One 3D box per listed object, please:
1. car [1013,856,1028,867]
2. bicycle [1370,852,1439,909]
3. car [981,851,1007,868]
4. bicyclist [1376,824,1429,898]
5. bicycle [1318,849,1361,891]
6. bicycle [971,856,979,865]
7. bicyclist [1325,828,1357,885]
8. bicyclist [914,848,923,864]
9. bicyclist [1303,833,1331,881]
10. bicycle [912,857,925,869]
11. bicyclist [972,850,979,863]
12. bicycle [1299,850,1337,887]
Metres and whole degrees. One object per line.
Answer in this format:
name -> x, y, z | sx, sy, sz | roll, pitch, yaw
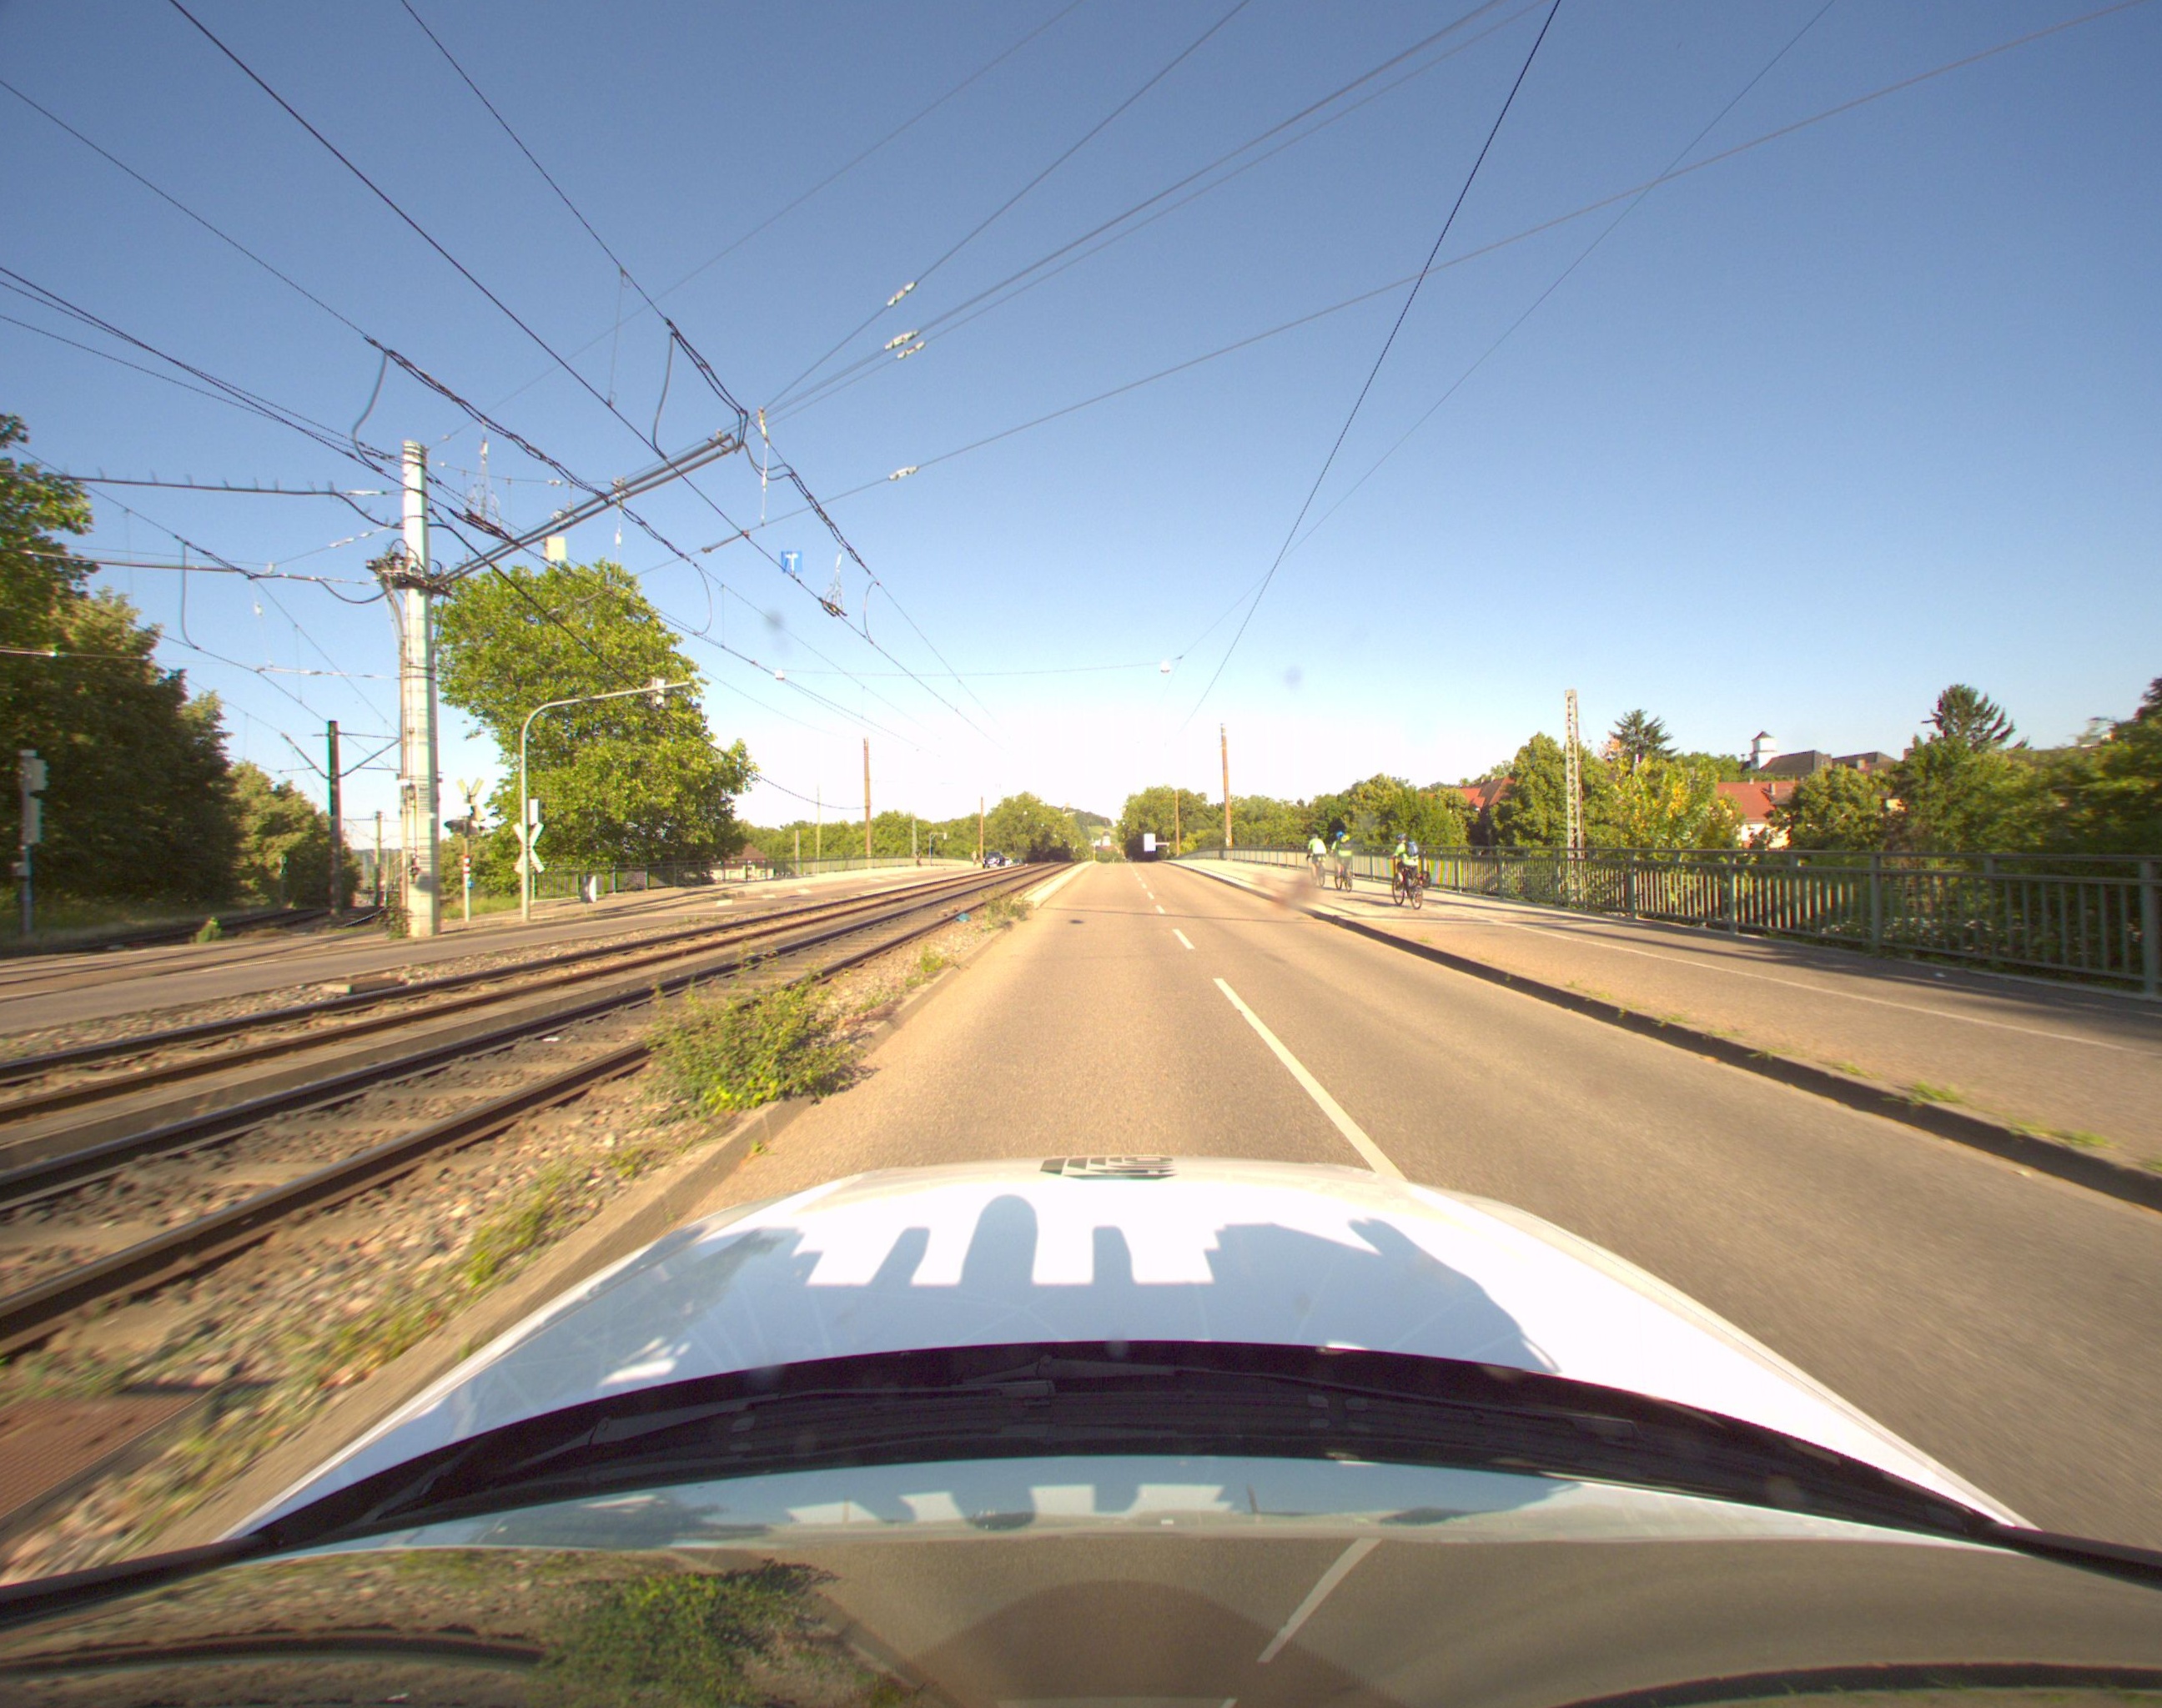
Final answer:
car -> -8.860, 1.082, 119.768 | 1.772, 1.650, 4.449 | -1, 0, 2
bicycle -> 6.986, 0.530, 17.714 | 0.681, 1.122, 2.217 | -1, 1, 2
car -> -8.110, 0.539, 76.327 | 1.841, 1.502, 4.221 | -1, 0, 2
bicyclist -> 6.969, 0.146, 17.692 | 0.809, 1.562, 0.897 | -1, 1, 2
bicycle -> 7.403, 0.445, 23.410 | 0.622, 1.122, 2.043 | -1, 0, 2
bicycle -> -13.316, 0.864, 102.569 | 0.622, 1.122, 2.261 | -1, 0, 3
bicyclist -> 7.428, 0.081, 23.264 | 0.623, 1.592, 0.931 | -1, -1, 2
bicyclist -> -14.784, 0.206, 74.230 | 0.623, 1.432, 0.969 | -1, -1, 1
bicyclist -> 7.600, 0.100, 26.226 | 0.623, 1.508, 1.006 | -1, 0, 2
bicycle -> -14.777, 0.813, 74.185 | 0.623, 1.122, 2.260 | -1, 0, 1
bicyclist -> -13.310, 0.279, 102.831 | 0.622, 1.633, 0.936 | -1, -1, 3
bicycle -> 7.604, 0.432, 26.184 | 0.622, 1.122, 2.261 | -1, 0, 2
